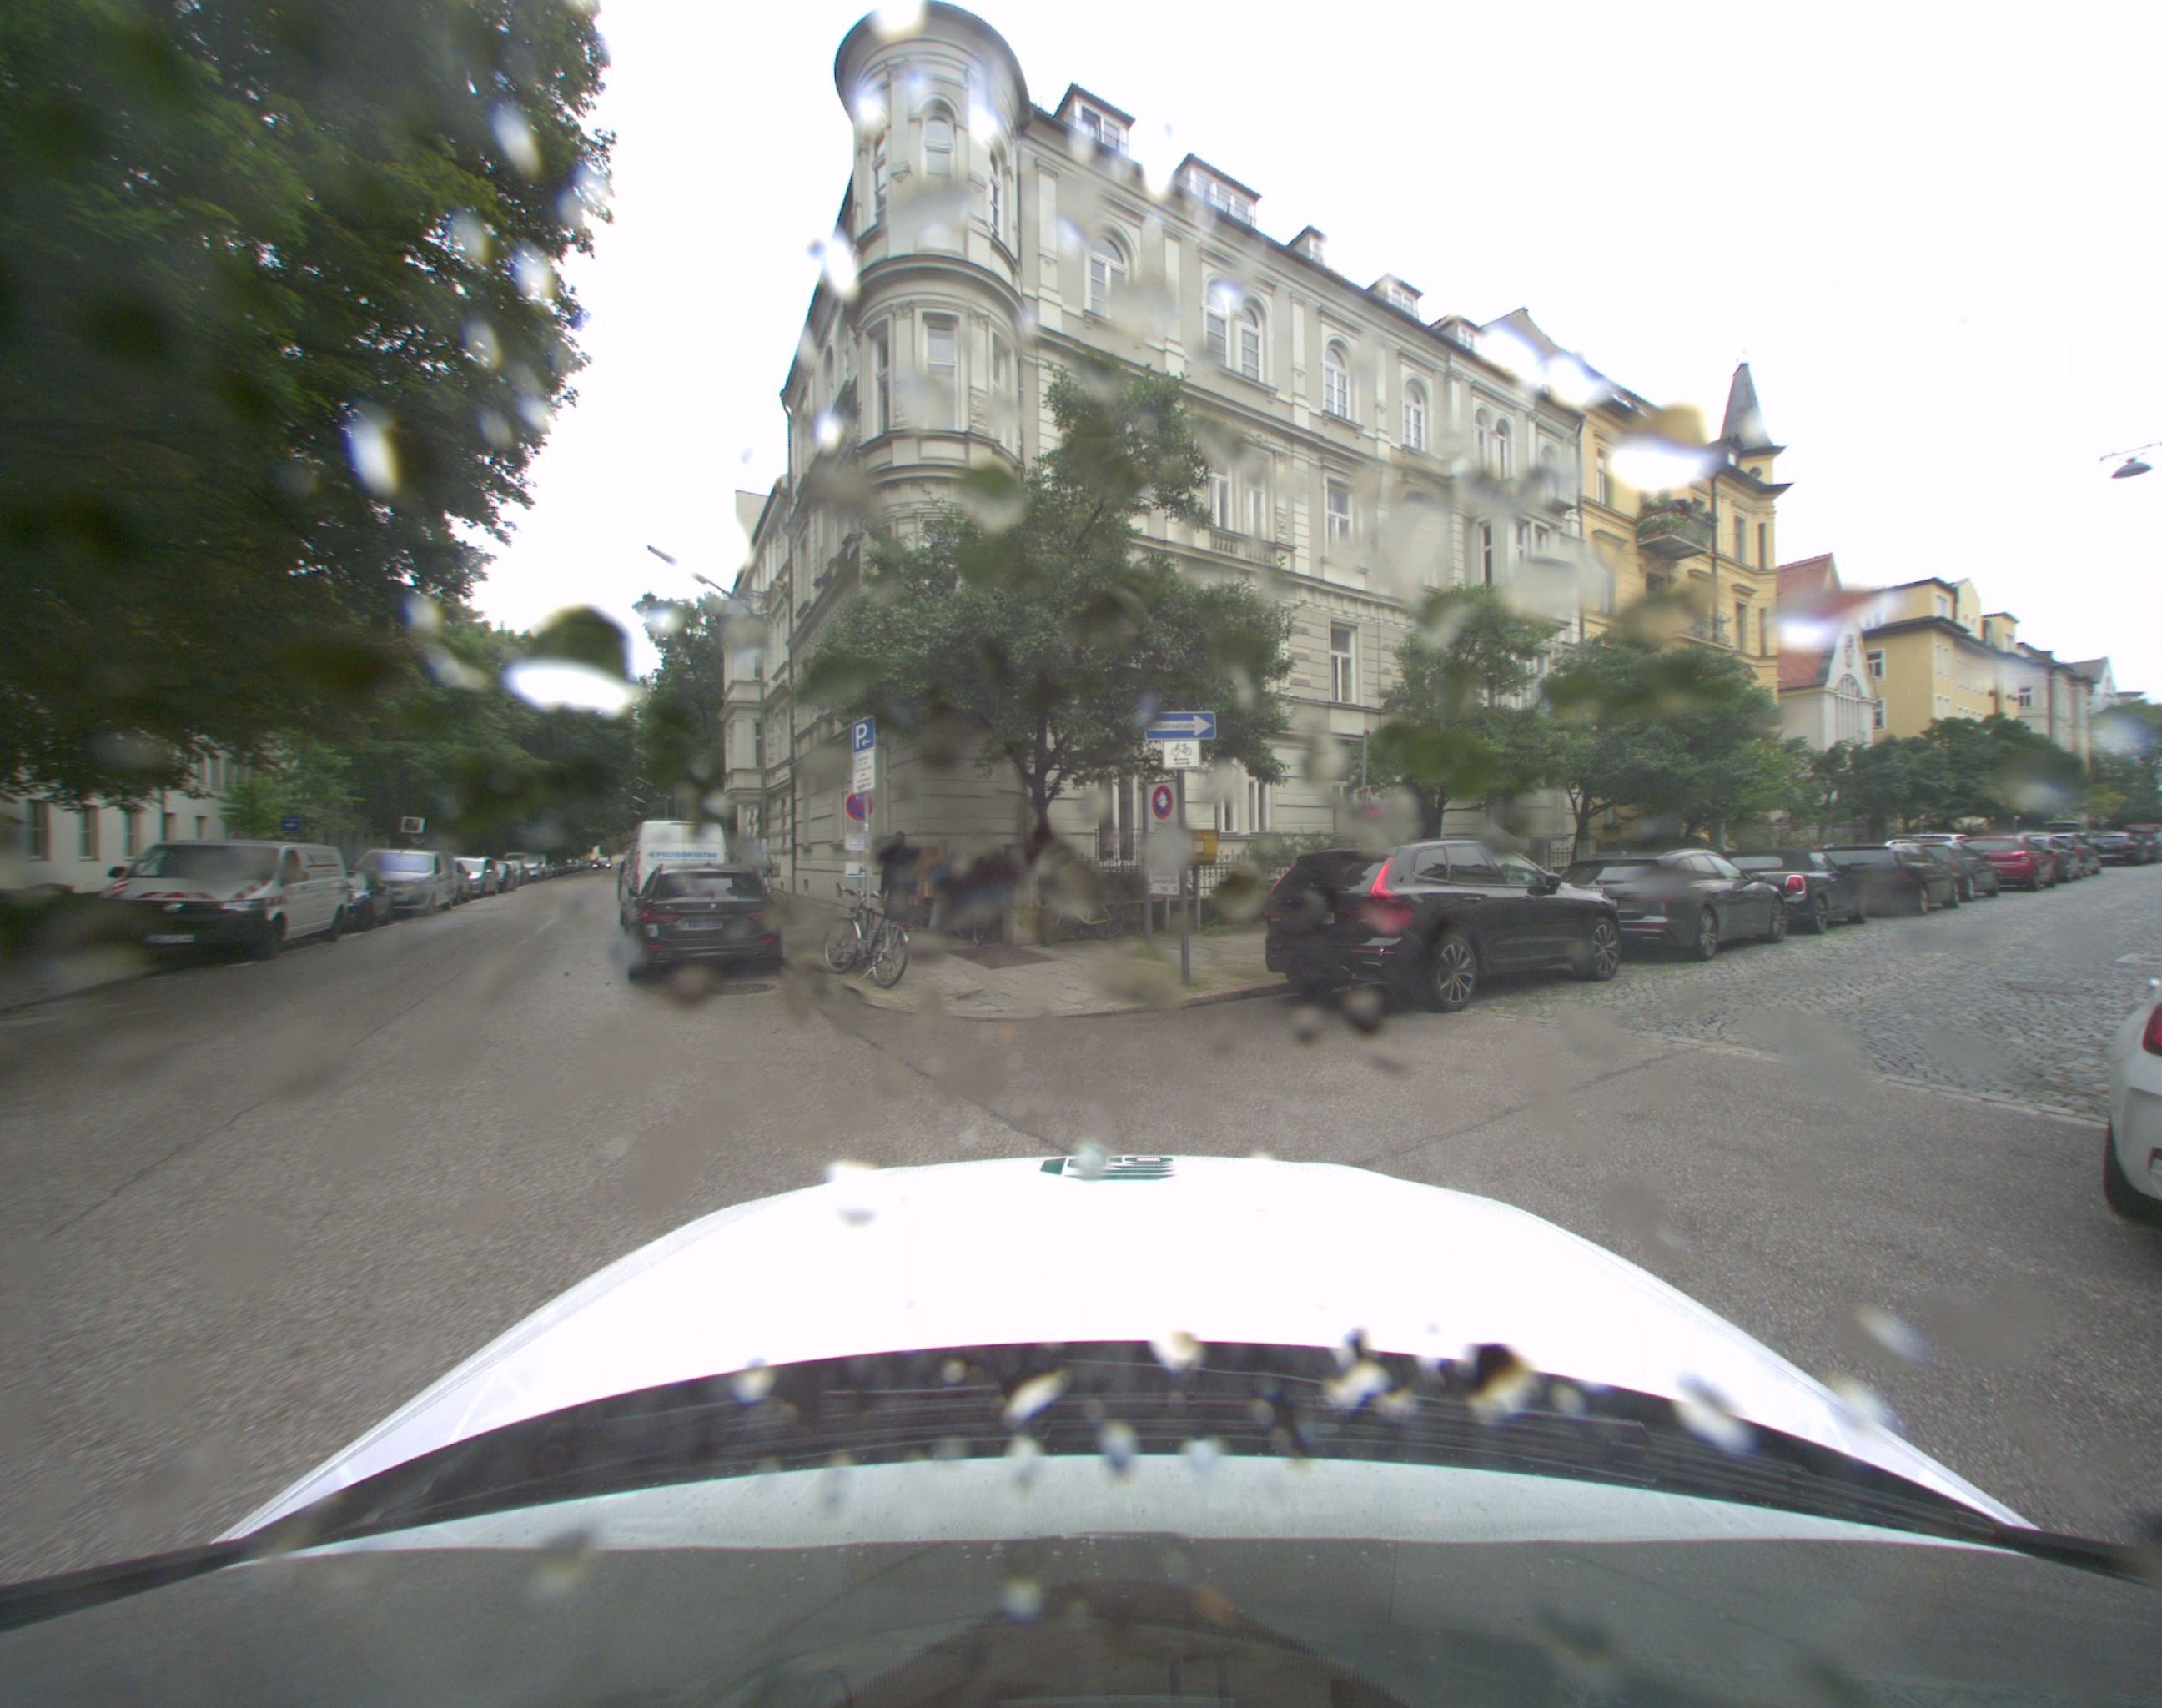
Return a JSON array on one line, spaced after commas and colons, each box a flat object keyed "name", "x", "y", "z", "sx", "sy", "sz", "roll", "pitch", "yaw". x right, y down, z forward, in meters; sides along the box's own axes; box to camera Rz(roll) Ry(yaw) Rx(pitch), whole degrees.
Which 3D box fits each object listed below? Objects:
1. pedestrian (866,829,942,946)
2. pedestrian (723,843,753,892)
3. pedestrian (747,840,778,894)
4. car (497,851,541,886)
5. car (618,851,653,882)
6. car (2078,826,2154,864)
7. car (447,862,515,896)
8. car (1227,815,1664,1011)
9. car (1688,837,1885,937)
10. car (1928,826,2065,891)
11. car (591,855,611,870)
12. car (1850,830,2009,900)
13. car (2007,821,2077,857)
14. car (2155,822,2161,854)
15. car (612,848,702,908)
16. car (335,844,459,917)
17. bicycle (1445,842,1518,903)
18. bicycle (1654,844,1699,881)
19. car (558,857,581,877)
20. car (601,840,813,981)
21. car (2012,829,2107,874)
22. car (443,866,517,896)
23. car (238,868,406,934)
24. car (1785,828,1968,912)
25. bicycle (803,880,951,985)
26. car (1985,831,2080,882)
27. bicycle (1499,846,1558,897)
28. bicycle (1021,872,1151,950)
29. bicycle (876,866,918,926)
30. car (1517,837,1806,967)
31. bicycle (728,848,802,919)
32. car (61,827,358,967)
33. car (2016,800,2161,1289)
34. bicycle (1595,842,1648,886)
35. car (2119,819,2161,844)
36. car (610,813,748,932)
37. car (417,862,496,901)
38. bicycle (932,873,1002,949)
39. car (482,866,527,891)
[{"name": "pedestrian", "x": -2.718, "y": 0.487, "z": 12.471, "sx": 0.862, "sy": 1.689, "sz": 0.966, "roll": -2, "pitch": 1, "yaw": -28}, {"name": "pedestrian", "x": -12.029, "y": 0.453, "z": 28.541, "sx": 0.864, "sy": 1.687, "sz": 0.769, "roll": -1, "pitch": 0, "yaw": -29}, {"name": "pedestrian", "x": -11.005, "y": 0.443, "z": 28.135, "sx": 0.864, "sy": 1.835, "sz": 0.661, "roll": -1, "pitch": 0, "yaw": -29}, {"name": "car", "x": -36.435, "y": 0.930, "z": 52.938, "sx": 2.015, "sy": 2.186, "sz": 4.650, "roll": 1, "pitch": -1, "yaw": -31}, {"name": "car", "x": -30.010, "y": 0.820, "z": 54.954, "sx": 2.005, "sy": 1.975, "sz": 3.964, "roll": -2, "pitch": 1, "yaw": -28}, {"name": "car", "x": 46.621, "y": -0.391, "z": 36.669, "sx": 3.755, "sy": 1.635, "sz": 1.907, "roll": -1, "pitch": 0, "yaw": -35}, {"name": "car", "x": -28.352, "y": 1.140, "z": 38.610, "sx": 1.971, "sy": 1.527, "sz": 4.006, "roll": 1, "pitch": -1, "yaw": -28}, {"name": "car", "x": 4.211, "y": 0.533, "z": 9.095, "sx": 5.072, "sy": 1.652, "sz": 1.923, "roll": -1, "pitch": -4, "yaw": -33}, {"name": "car", "x": 12.606, "y": 0.534, "z": 14.509, "sx": 3.742, "sy": 1.516, "sz": 1.691, "roll": -2, "pitch": -2, "yaw": -34}, {"name": "car", "x": 25.840, "y": 0.131, "z": 22.967, "sx": 3.820, "sy": 1.635, "sz": 1.908, "roll": -1, "pitch": -4, "yaw": -33}, {"name": "car", "x": -62.325, "y": 1.097, "z": 105.827, "sx": 2.005, "sy": 1.782, "sz": 3.964, "roll": -2, "pitch": 1, "yaw": -28}, {"name": "car", "x": 21.073, "y": 0.266, "z": 20.201, "sx": 4.015, "sy": 1.546, "sz": 1.908, "roll": -1, "pitch": -4, "yaw": -33}, {"name": "car", "x": 45.860, "y": -0.697, "z": 38.844, "sx": 3.754, "sy": 1.635, "sz": 1.765, "roll": -1, "pitch": 0, "yaw": -34}, {"name": "car", "x": 64.459, "y": -0.973, "z": 47.478, "sx": 3.753, "sy": 1.839, "sz": 1.908, "roll": -1, "pitch": -4, "yaw": -33}, {"name": "car", "x": -13.319, "y": 0.700, "z": 25.467, "sx": 2.153, "sy": 1.630, "sz": 4.272, "roll": -3, "pitch": 1, "yaw": -32}, {"name": "car", "x": -20.350, "y": 0.735, "z": 24.477, "sx": 2.199, "sy": 1.956, "sz": 5.113, "roll": 1, "pitch": -1, "yaw": -33}, {"name": "bicycle", "x": 8.721, "y": 0.381, "z": 17.693, "sx": 1.987, "sy": 1.248, "sz": 0.497, "roll": -1, "pitch": 1, "yaw": -33}, {"name": "bicycle", "x": 16.937, "y": 0.228, "z": 23.152, "sx": 1.771, "sy": 1.027, "sz": 0.415, "roll": -1, "pitch": 1, "yaw": -32}, {"name": "car", "x": -54.618, "y": 1.380, "z": 86.938, "sx": 2.061, "sy": 2.154, "sz": 4.269, "roll": 1, "pitch": -1, "yaw": -33}, {"name": "car", "x": -5.529, "y": 0.665, "z": 11.887, "sx": 2.286, "sy": 1.546, "sz": 4.545, "roll": -2, "pitch": 1, "yaw": -28}, {"name": "car", "x": 35.004, "y": -0.097, "z": 29.122, "sx": 3.496, "sy": 1.534, "sz": 1.649, "roll": -1, "pitch": -1, "yaw": -31}, {"name": "car", "x": -28.329, "y": 1.235, "z": 38.545, "sx": 2.130, "sy": 1.329, "sz": 4.101, "roll": 0, "pitch": -1, "yaw": -27}, {"name": "car", "x": -17.777, "y": 1.025, "z": 19.321, "sx": 2.227, "sy": 1.329, "sz": 3.908, "roll": 1, "pitch": -1, "yaw": -33}, {"name": "car", "x": 16.621, "y": 0.315, "z": 16.961, "sx": 4.352, "sy": 1.540, "sz": 1.714, "roll": -1, "pitch": -4, "yaw": -33}, {"name": "bicycle", "x": -2.477, "y": 0.868, "z": 9.712, "sx": 2.174, "sy": 1.028, "sz": 0.660, "roll": 1, "pitch": 2, "yaw": 44}, {"name": "car", "x": 29.657, "y": 0.074, "z": 25.379, "sx": 2.659, "sy": 1.460, "sz": 1.422, "roll": -1, "pitch": -4, "yaw": -31}, {"name": "bicycle", "x": 10.391, "y": 0.383, "z": 18.901, "sx": 1.894, "sy": 1.132, "sz": 0.360, "roll": -1, "pitch": 1, "yaw": -33}, {"name": "bicycle", "x": 0.091, "y": 0.827, "z": 12.282, "sx": 1.933, "sy": 1.028, "sz": 0.552, "roll": -1, "pitch": 1, "yaw": -28}, {"name": "bicycle", "x": -3.571, "y": 0.774, "z": 15.725, "sx": 0.548, "sy": 1.060, "sz": 1.738, "roll": -1, "pitch": 0, "yaw": -21}, {"name": "car", "x": 8.670, "y": 0.581, "z": 11.977, "sx": 5.200, "sy": 1.505, "sz": 1.791, "roll": -2, "pitch": -2, "yaw": -35}, {"name": "bicycle", "x": -7.147, "y": 0.631, "z": 18.369, "sx": 2.013, "sy": 1.515, "sz": 0.714, "roll": -1, "pitch": 0, "yaw": 43}, {"name": "car", "x": -14.763, "y": 0.626, "z": 14.296, "sx": 2.263, "sy": 1.956, "sz": 5.397, "roll": 1, "pitch": -1, "yaw": -33}, {"name": "car", "x": 5.802, "y": 0.565, "z": 3.327, "sx": 4.940, "sy": 1.531, "sz": 1.894, "roll": -2, "pitch": 3, "yaw": -33}, {"name": "bicycle", "x": 14.299, "y": 0.250, "z": 21.534, "sx": 1.838, "sy": 1.102, "sz": 0.369, "roll": -1, "pitch": 1, "yaw": -29}, {"name": "car", "x": 78.600, "y": -1.614, "z": 60.213, "sx": 3.753, "sy": 1.635, "sz": 1.908, "roll": -1, "pitch": -4, "yaw": -33}, {"name": "car", "x": -8.946, "y": 0.349, "z": 17.882, "sx": 2.219, "sy": 2.208, "sz": 4.806, "roll": -2, "pitch": 1, "yaw": -32}, {"name": "car", "x": -26.112, "y": 1.104, "z": 34.194, "sx": 2.082, "sy": 1.519, "sz": 4.196, "roll": 1, "pitch": -1, "yaw": -30}, {"name": "bicycle", "x": -1.806, "y": 0.845, "z": 12.678, "sx": 0.432, "sy": 1.028, "sz": 1.873, "roll": -1, "pitch": 1, "yaw": -28}, {"name": "car", "x": -32.051, "y": 1.320, "z": 45.382, "sx": 1.832, "sy": 1.329, "sz": 4.058, "roll": 1, "pitch": -1, "yaw": -33}]
